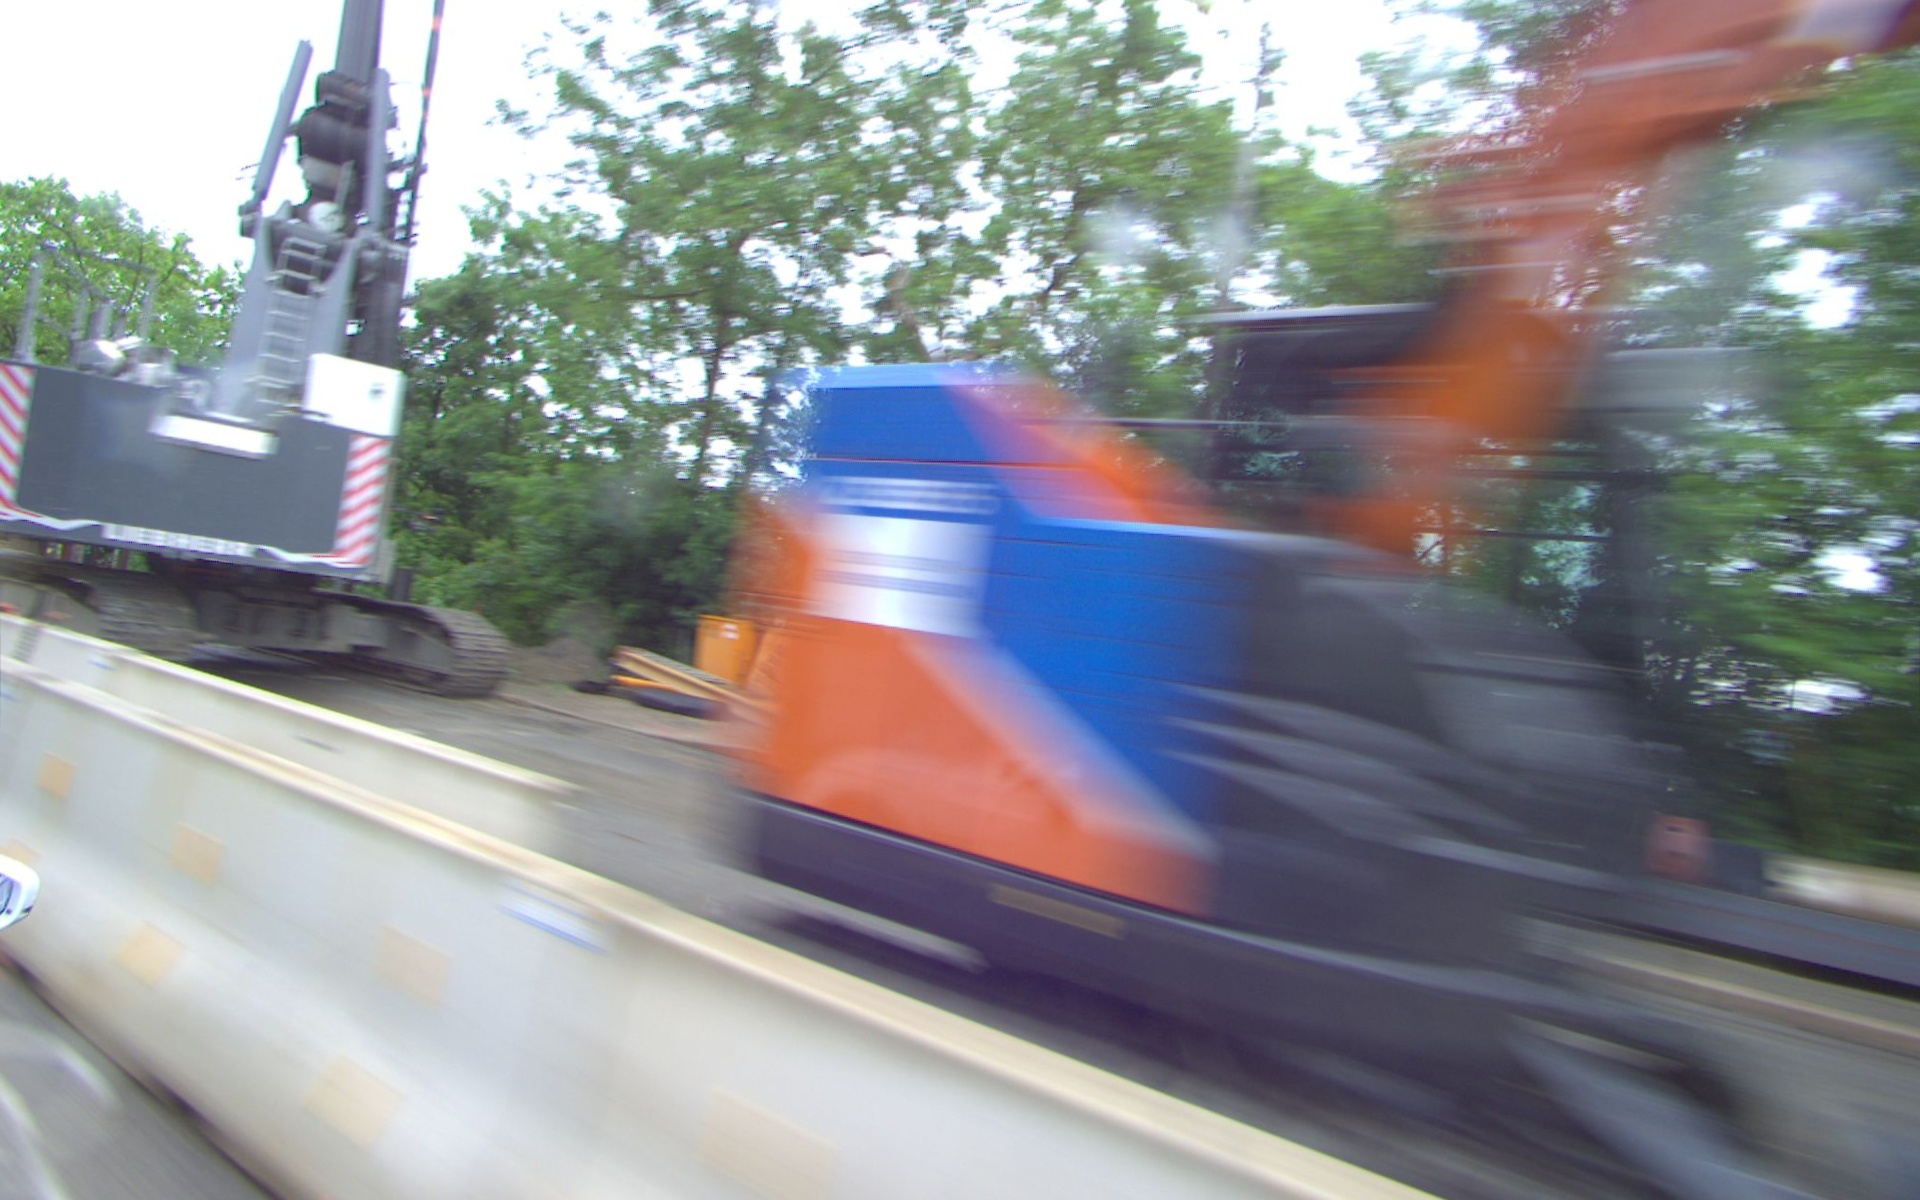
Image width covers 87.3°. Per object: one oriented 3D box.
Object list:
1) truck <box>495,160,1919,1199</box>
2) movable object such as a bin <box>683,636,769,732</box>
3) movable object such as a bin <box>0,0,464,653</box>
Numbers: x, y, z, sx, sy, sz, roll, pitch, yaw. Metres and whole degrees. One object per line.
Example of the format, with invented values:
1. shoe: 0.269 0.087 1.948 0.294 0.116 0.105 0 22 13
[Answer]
1. truck: 0.981 0.579 2.775 3.249 2.132 2.556 5 -3 32
2. movable object such as a bin: -3.563 1.282 15.339 0.829 1.322 0.757 6 -4 32
3. movable object such as a bin: -8.515 -2.325 12.068 3.655 5.124 7.112 8 -2 -30
